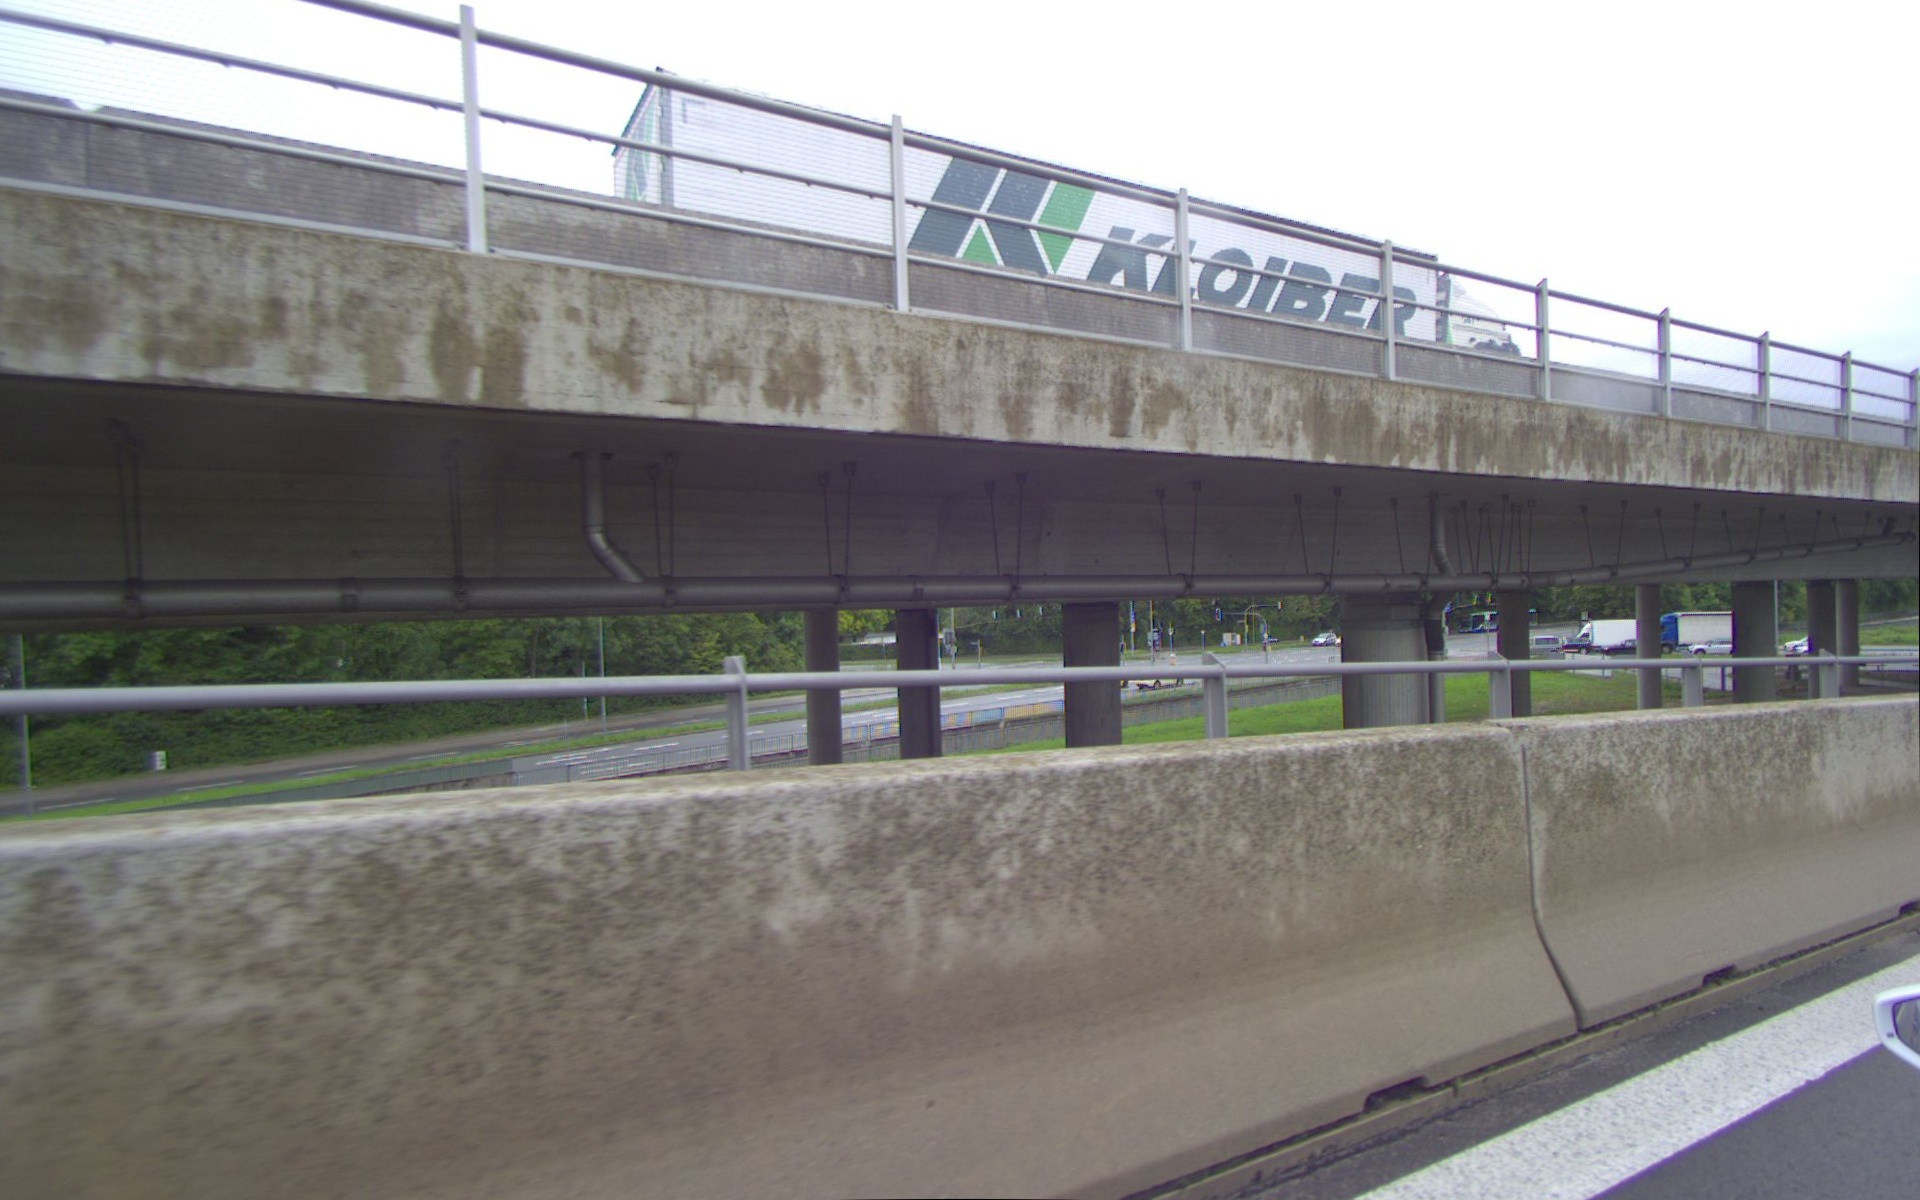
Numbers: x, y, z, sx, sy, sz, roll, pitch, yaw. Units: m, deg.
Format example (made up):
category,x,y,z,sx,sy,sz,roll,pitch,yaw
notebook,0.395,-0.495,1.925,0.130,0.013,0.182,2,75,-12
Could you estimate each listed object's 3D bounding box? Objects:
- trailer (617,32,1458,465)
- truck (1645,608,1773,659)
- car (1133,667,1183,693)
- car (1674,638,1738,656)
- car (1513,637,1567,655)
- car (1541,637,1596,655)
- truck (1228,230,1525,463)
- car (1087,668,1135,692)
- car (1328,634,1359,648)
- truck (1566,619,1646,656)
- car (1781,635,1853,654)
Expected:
category,x,y,z,sx,sy,sz,roll,pitch,yaw
trailer,2.188,-4.368,15.404,13.896,3.342,2.644,0,1,-31
truck,71.209,3.162,95.803,9.425,4.652,2.796,0,-1,28
car,16.847,6.748,85.387,4.324,1.773,1.791,-1,3,-37
car,69.355,4.383,93.460,4.504,1.604,1.974,0,-1,25
car,57.441,4.528,99.522,4.504,1.627,1.974,0,-1,25
car,61.182,4.600,101.034,4.504,1.627,1.974,0,-1,25
truck,7.799,-4.437,18.737,5.133,3.290,2.576,-2,2,-30
car,13.050,6.911,86.934,3.962,1.640,1.829,-1,3,-37
car,49.498,5.256,129.493,3.958,1.728,1.782,0,-2,-34
truck,65.862,3.799,102.586,6.521,3.728,2.796,0,-1,28
car,76.522,3.988,89.739,4.505,1.604,1.973,0,-1,26
